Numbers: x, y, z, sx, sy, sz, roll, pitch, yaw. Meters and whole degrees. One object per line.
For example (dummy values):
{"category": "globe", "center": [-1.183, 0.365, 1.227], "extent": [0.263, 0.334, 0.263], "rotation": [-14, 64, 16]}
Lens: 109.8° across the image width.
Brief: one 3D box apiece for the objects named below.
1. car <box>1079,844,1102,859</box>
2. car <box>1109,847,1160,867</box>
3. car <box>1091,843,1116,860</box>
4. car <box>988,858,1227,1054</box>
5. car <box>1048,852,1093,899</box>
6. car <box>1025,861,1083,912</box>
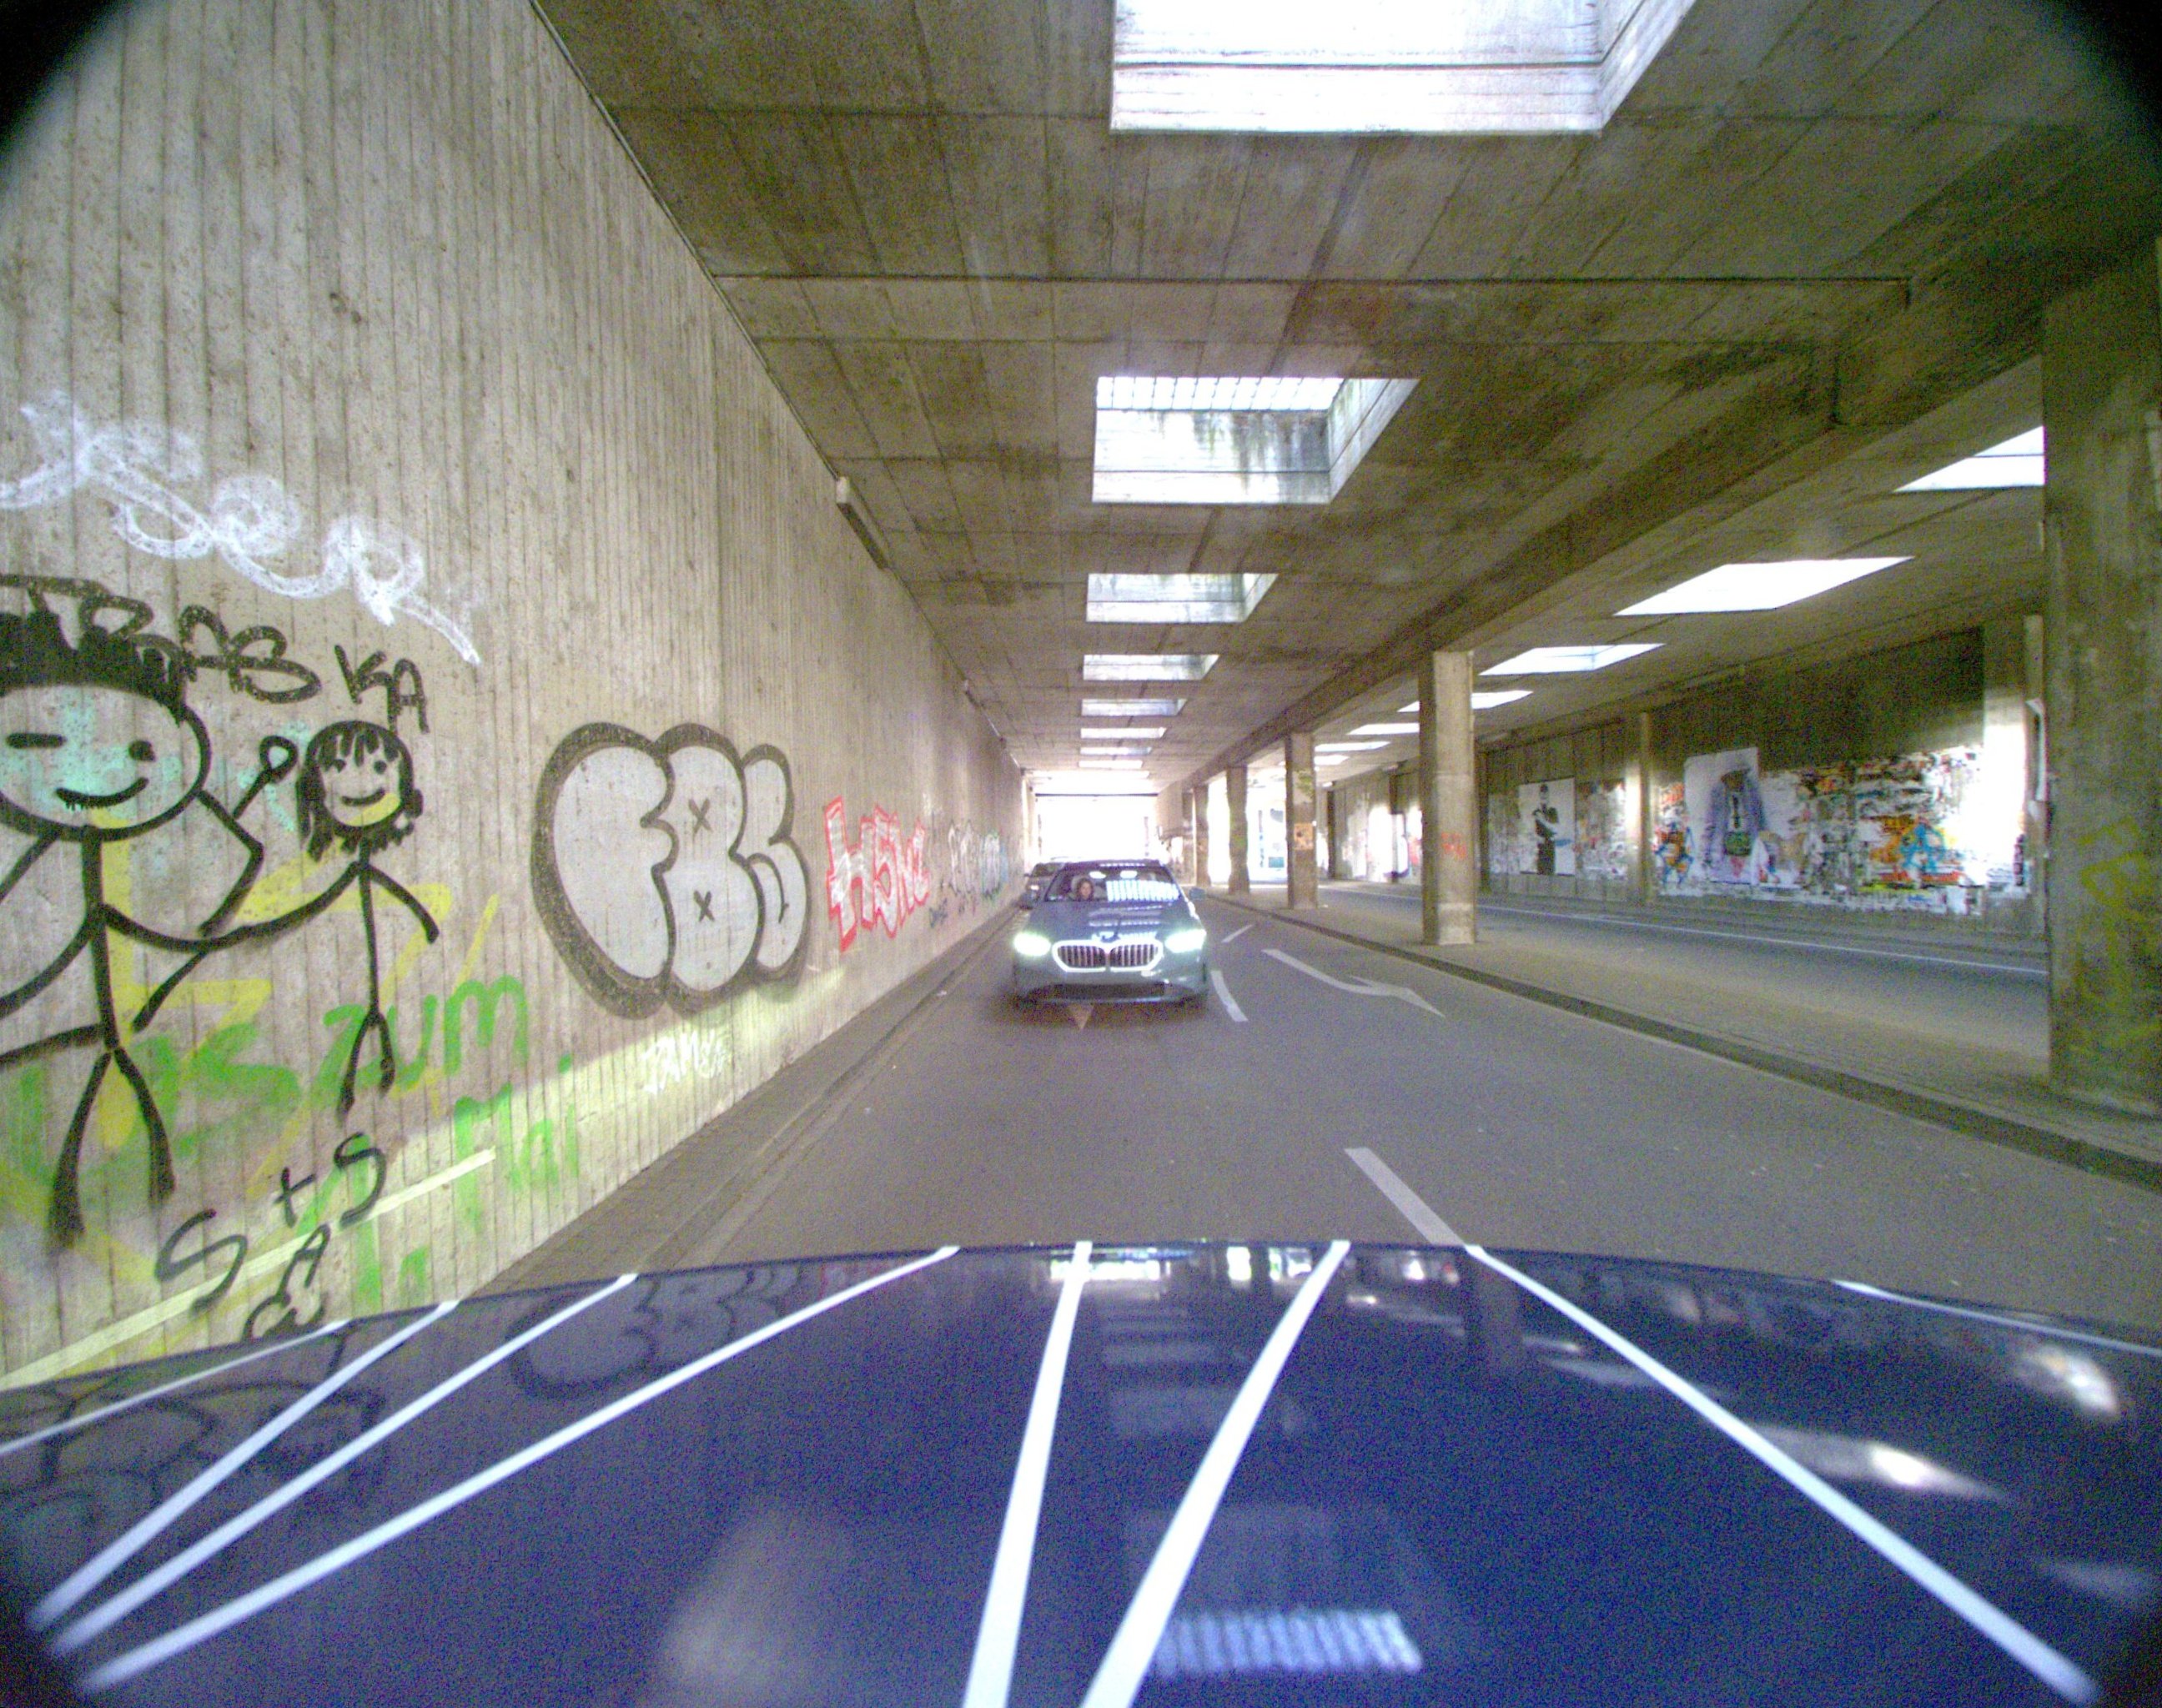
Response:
{"category": "car", "center": [1.224, -0.334, 103.566], "extent": [2.361, 2.002, 5.146], "rotation": [-1, 0, -8]}
{"category": "car", "center": [5.515, 0.274, 79.206], "extent": [5.147, 2.002, 2.360], "rotation": [-1, 0, -1]}
{"category": "car", "center": [2.878, -0.328, 97.553], "extent": [2.361, 2.002, 5.146], "rotation": [-1, 0, -8]}
{"category": "car", "center": [0.309, 0.885, 9.019], "extent": [1.998, 1.594, 5.176], "rotation": [-1, 0, 2]}
{"category": "car", "center": [-0.356, 0.773, 29.922], "extent": [1.581, 1.676, 4.078], "rotation": [-2, 0, 1]}
{"category": "car", "center": [-0.780, 0.954, 23.915], "extent": [1.593, 1.387, 3.833], "rotation": [-2, 0, 1]}
